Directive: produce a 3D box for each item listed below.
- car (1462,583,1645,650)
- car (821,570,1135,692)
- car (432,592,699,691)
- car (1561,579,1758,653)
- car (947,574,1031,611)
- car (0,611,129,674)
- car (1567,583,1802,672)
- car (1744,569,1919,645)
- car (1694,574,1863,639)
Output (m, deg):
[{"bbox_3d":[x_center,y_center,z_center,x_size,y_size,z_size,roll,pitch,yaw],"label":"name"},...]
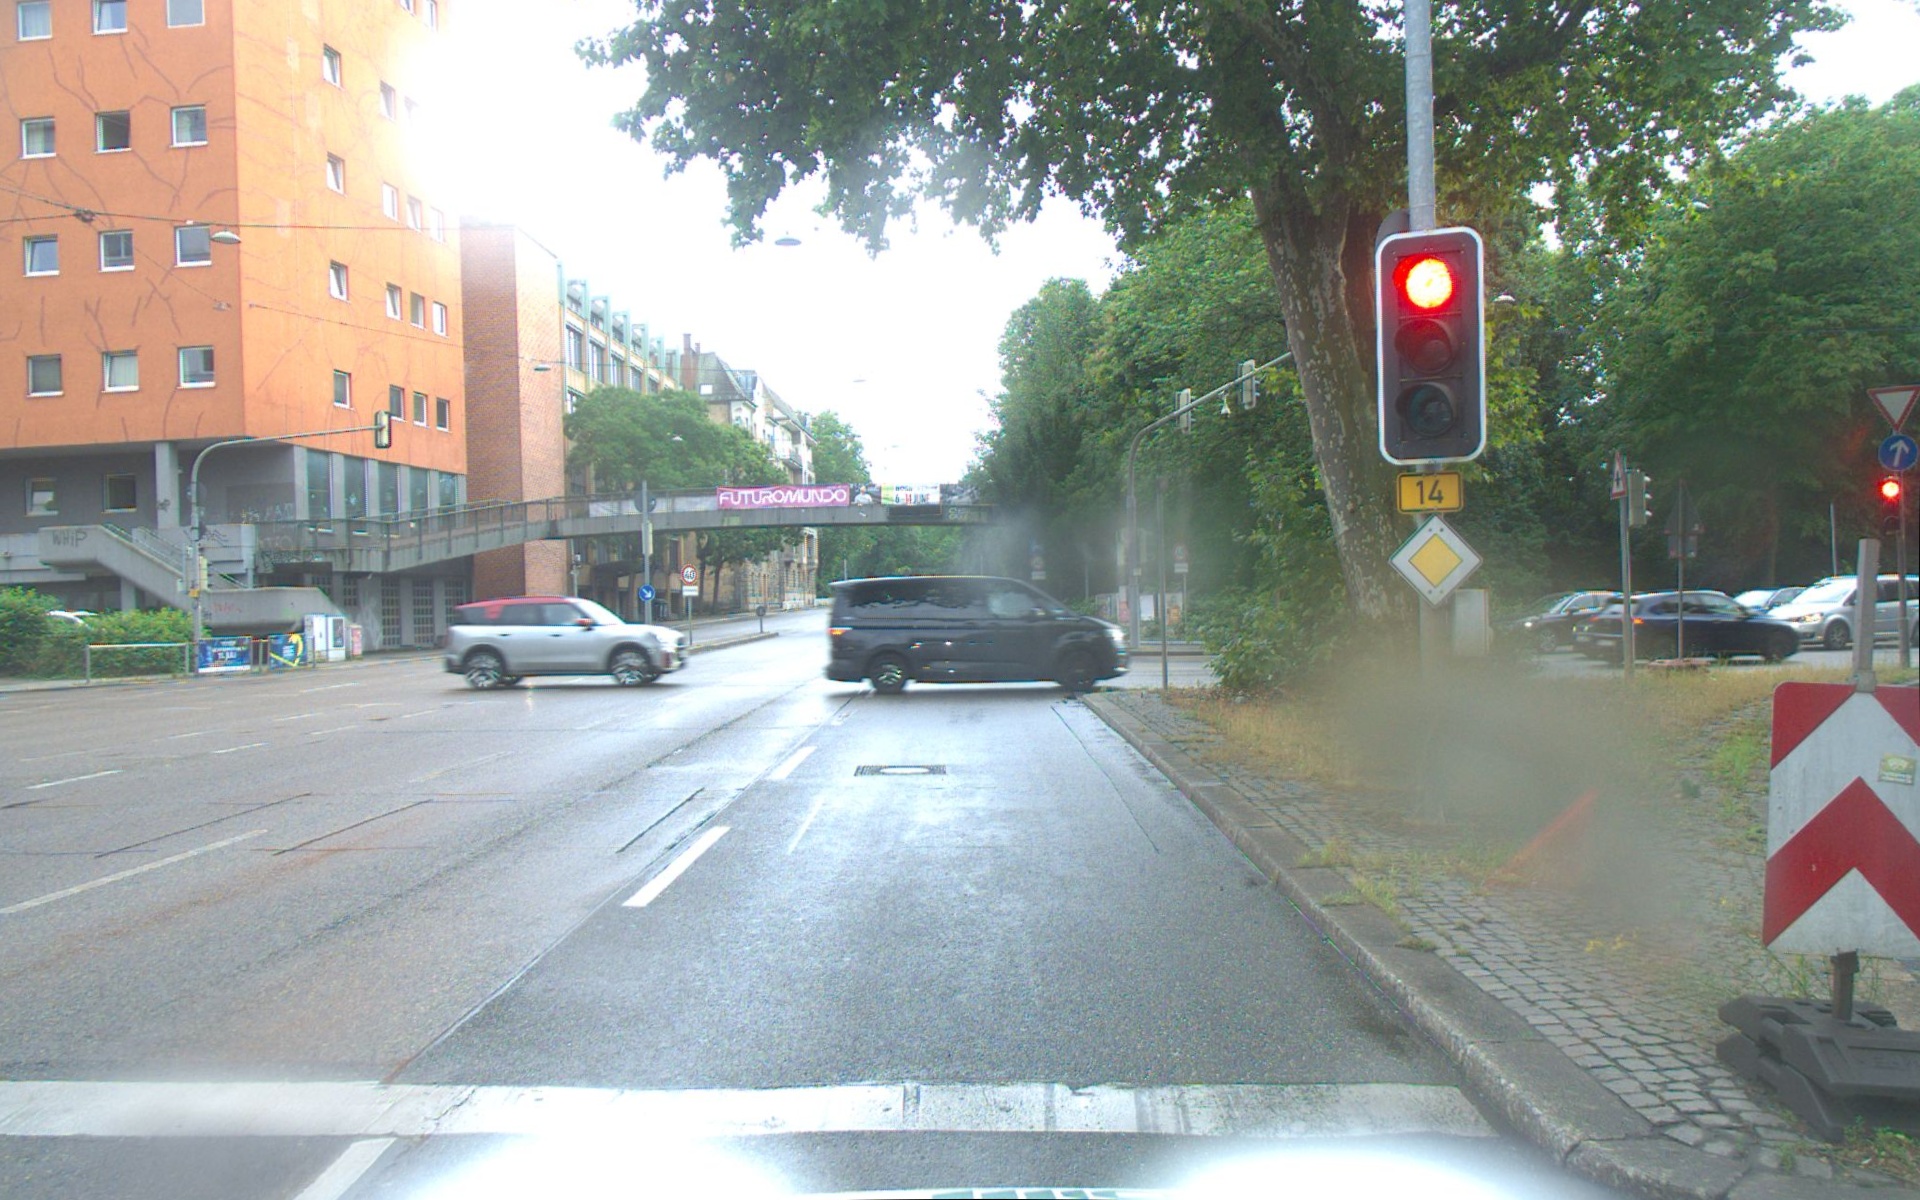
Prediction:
[{"bbox_3d":[14.428,0.391,40.257,3.929,1.512,1.867,-1,0,-21],"label":"car"},{"bbox_3d":[0.271,0.496,27.360,4.973,1.878,1.999,-1,0,-2],"label":"car"},{"bbox_3d":[-7.236,0.746,30.645,4.417,1.666,1.881,-1,0,2],"label":"car"},{"bbox_3d":[15.378,0.342,36.404,3.791,1.511,1.665,-1,-1,-16],"label":"car"},{"bbox_3d":[1.340,-0.331,78.248,1.857,1.666,4.474,-1,0,-32],"label":"car"},{"bbox_3d":[-27.012,1.281,48.908,3.929,1.646,1.896,-3,0,9],"label":"car"},{"bbox_3d":[14.418,0.536,32.984,4.061,1.471,1.581,-3,0,-11],"label":"car"},{"bbox_3d":[20.614,0.148,38.409,4.191,1.512,1.766,-3,0,-16],"label":"car"},{"bbox_3d":[20.789,0.148,42.022,3.768,1.512,1.734,-1,0,-21],"label":"car"}]
